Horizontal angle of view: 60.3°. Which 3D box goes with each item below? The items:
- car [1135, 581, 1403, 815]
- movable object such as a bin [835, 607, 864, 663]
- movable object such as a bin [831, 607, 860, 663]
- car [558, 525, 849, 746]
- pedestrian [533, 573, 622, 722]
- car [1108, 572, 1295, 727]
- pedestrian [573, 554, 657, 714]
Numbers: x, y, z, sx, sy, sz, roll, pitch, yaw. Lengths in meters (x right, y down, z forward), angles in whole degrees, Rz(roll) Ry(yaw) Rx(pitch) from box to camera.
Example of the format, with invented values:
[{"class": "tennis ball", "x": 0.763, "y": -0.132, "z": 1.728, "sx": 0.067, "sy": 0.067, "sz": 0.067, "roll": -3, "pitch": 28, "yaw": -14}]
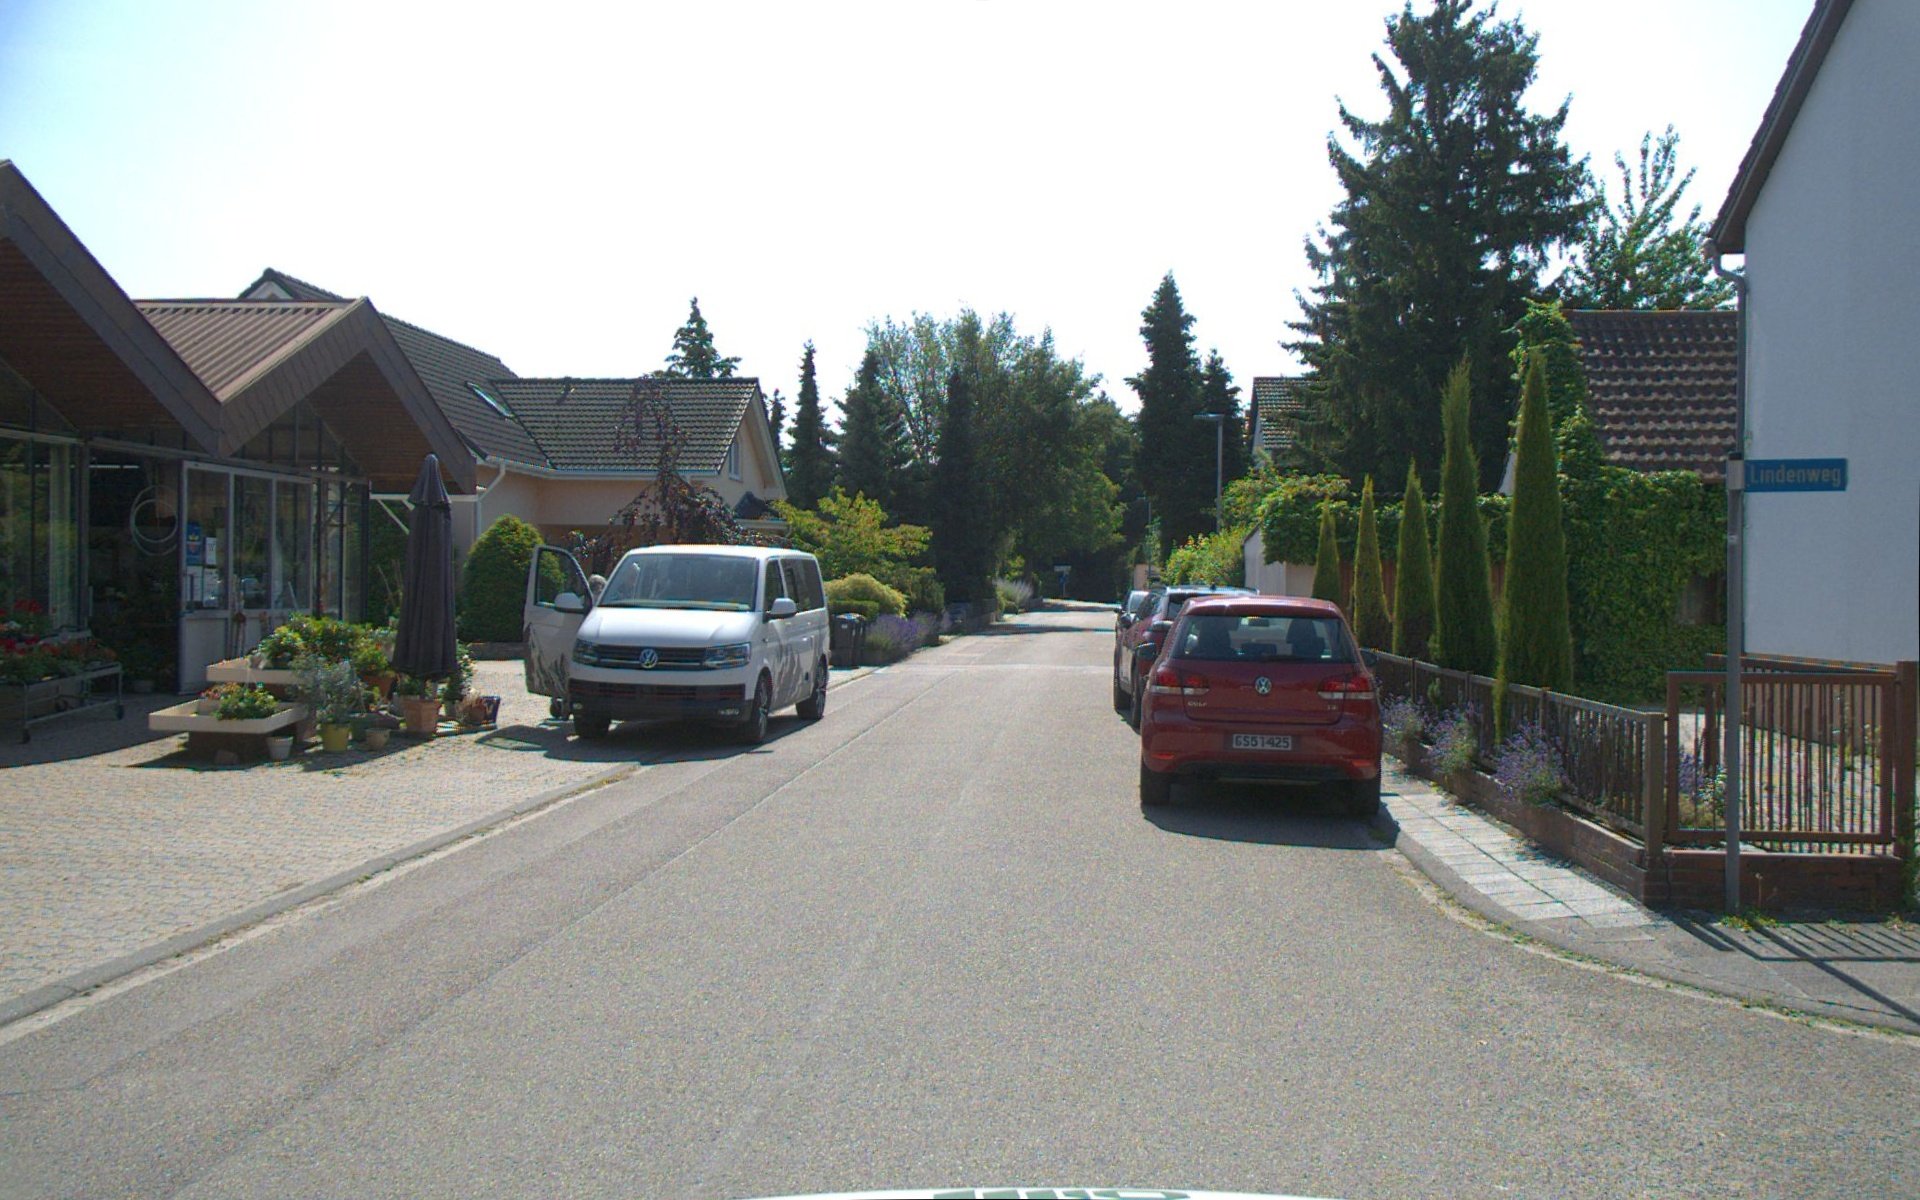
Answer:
[{"class": "car", "x": 2.356, "y": 0.642, "z": 13.176, "sx": 1.738, "sy": 1.505, "sz": 4.003, "roll": 2, "pitch": 1, "yaw": 8}, {"class": "movable object such as a bin", "x": -2.102, "y": 0.660, "z": 31.481, "sx": 0.484, "sy": 1.042, "sz": 0.448, "roll": 0, "pitch": 0, "yaw": 5}, {"class": "movable object such as a bin", "x": -2.146, "y": 0.648, "z": 31.007, "sx": 0.484, "sy": 1.042, "sz": 0.448, "roll": 0, "pitch": 0, "yaw": 5}, {"class": "car", "x": -2.571, "y": 0.306, "z": 17.878, "sx": 1.888, "sy": 2.049, "sz": 4.899, "roll": 0, "pitch": 0, "yaw": 6}, {"class": "pedestrian", "x": -4.137, "y": 0.492, "z": 17.883, "sx": 0.706, "sy": 1.565, "sz": 0.639, "roll": 1, "pitch": 1, "yaw": 38}, {"class": "car", "x": 2.787, "y": 0.518, "z": 19.886, "sx": 1.784, "sy": 1.643, "sz": 4.001, "roll": 1, "pitch": 1, "yaw": 2}, {"class": "pedestrian", "x": -3.901, "y": 0.368, "z": 18.723, "sx": 0.678, "sy": 1.761, "sz": 0.640, "roll": 1, "pitch": 1, "yaw": 35}]
